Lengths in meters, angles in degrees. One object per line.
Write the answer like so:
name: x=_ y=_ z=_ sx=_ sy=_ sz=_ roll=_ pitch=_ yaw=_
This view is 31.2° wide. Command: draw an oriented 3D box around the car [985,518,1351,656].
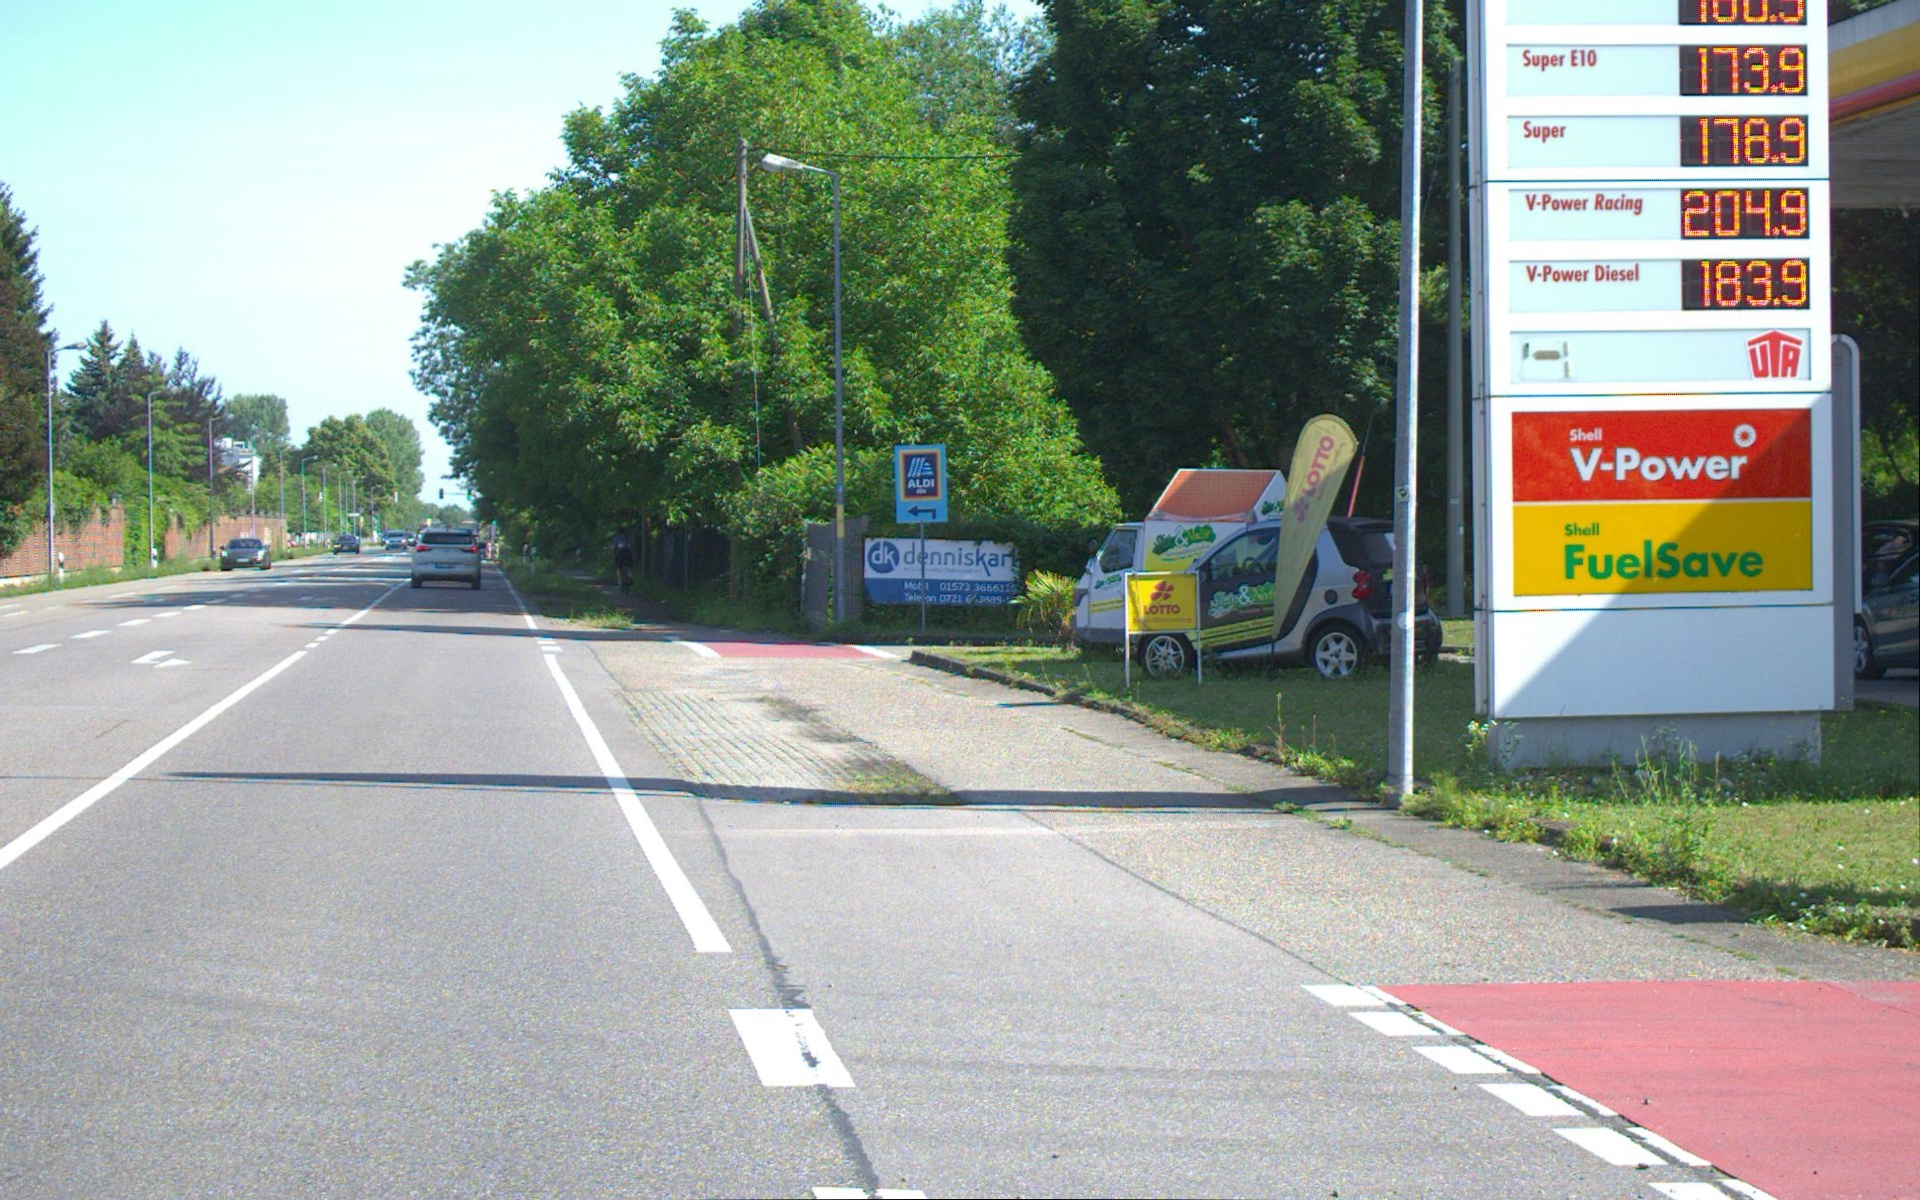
car: x=2.434 y=-0.154 z=40.480 sx=3.986 sy=1.525 sz=1.586 roll=1 pitch=1 yaw=-14

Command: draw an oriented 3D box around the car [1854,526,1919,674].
car: x=9.794 y=-0.003 z=31.731 sx=1.797 sy=1.356 sz=3.849 roll=-1 pitch=1 yaw=-5

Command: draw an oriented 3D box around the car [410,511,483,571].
car: x=-13.778 y=-1.571 z=92.433 sx=1.846 sy=1.536 sz=4.225 roll=1 pitch=1 yaw=-7

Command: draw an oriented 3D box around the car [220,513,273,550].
car: x=-31.084 y=-2.969 z=149.863 sx=1.846 sy=1.491 sz=4.913 roll=-2 pitch=1 yaw=-7

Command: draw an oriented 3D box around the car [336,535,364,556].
car: x=-45.577 y=-4.081 z=256.836 sx=1.846 sy=1.536 sz=4.225 roll=1 pitch=1 yaw=-7

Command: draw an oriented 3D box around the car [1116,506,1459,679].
car: x=3.020 y=-0.069 z=31.792 sx=2.728 sy=1.525 sz=1.574 roll=0 pitch=0 yaw=37
